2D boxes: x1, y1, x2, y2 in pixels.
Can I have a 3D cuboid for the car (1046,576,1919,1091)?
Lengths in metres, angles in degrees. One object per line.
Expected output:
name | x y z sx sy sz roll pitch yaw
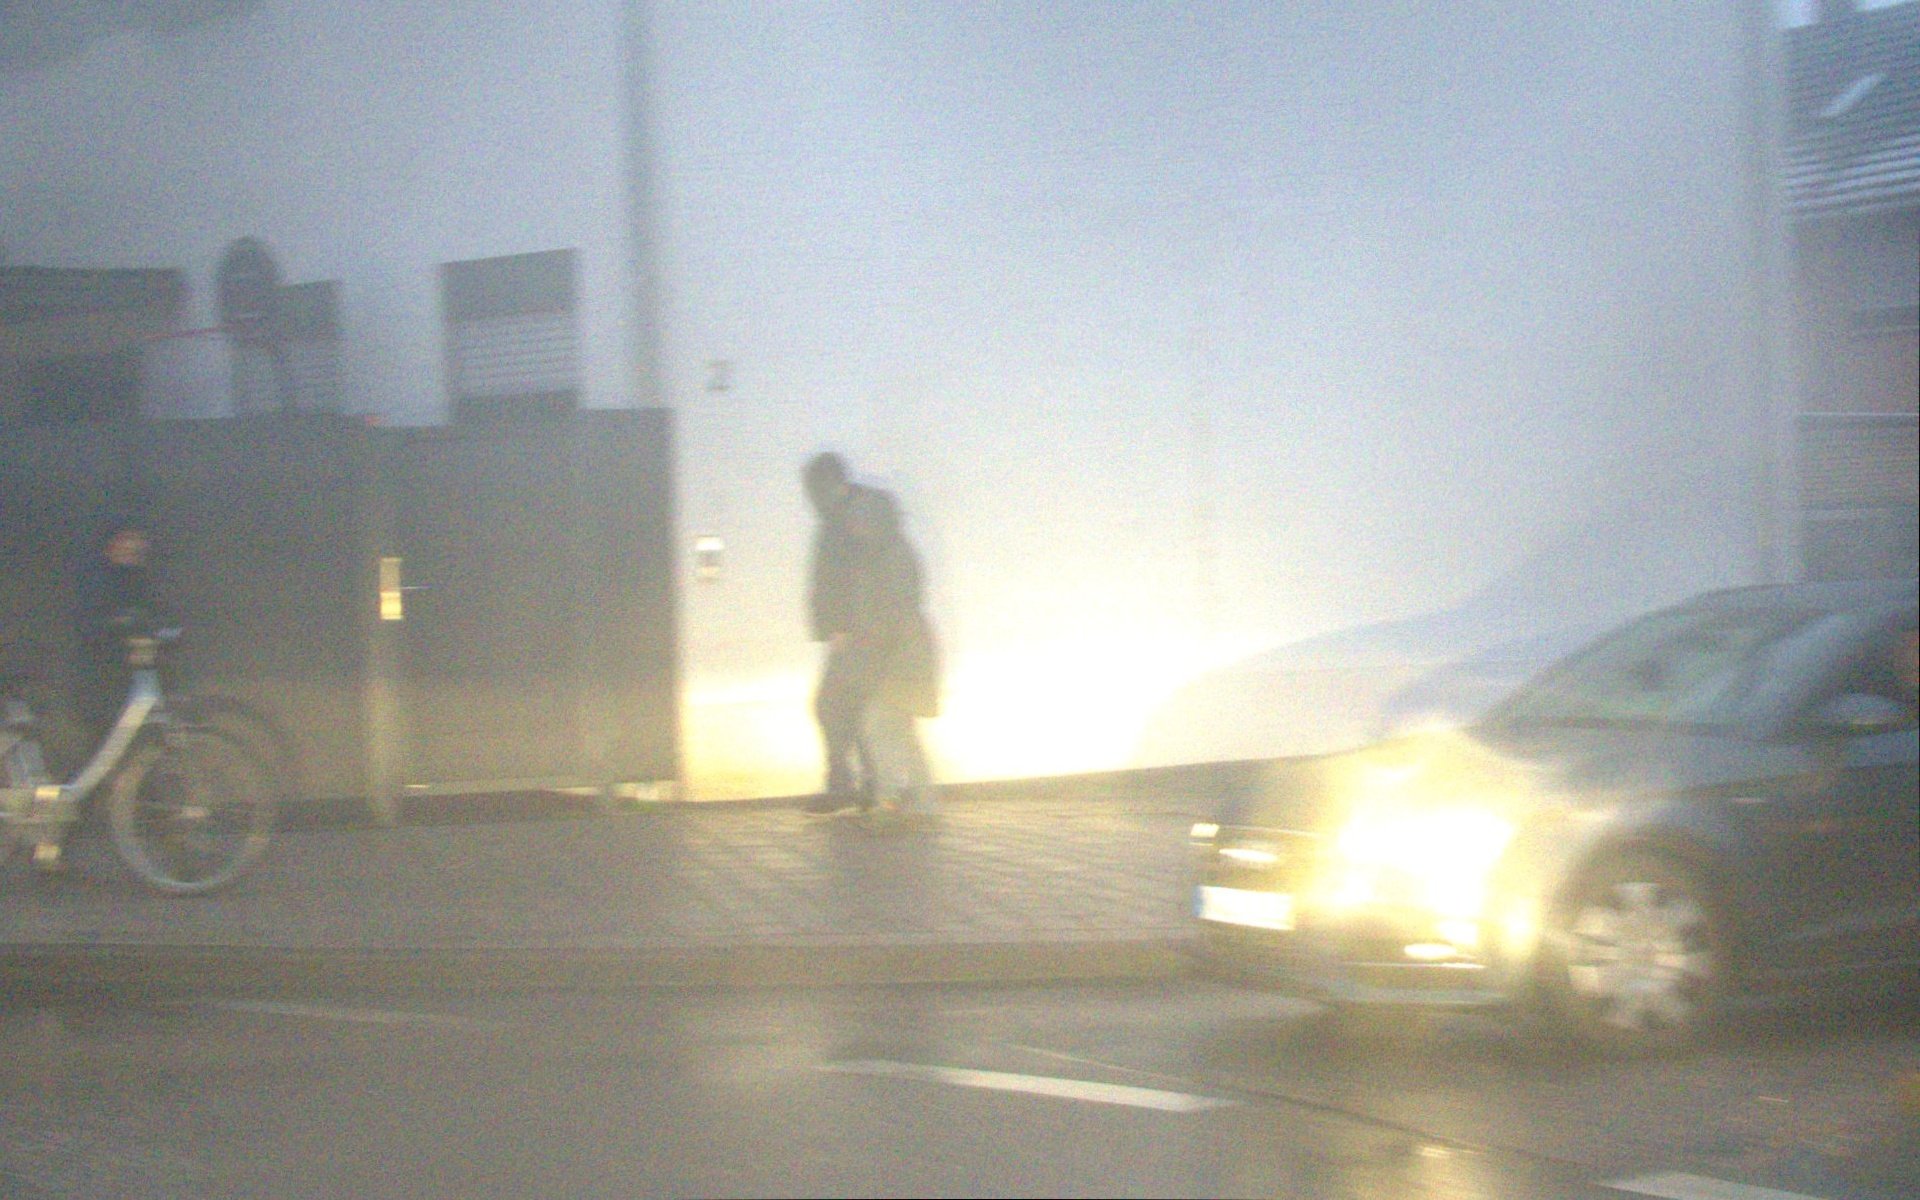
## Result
car | 2.602 0.636 11.158 4.220 1.379 1.851 -1 -1 -24

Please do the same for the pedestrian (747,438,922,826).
pedestrian | -0.611 0.135 16.612 0.715 1.825 0.638 -1 3 -15

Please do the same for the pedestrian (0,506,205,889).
pedestrian | -3.604 0.395 14.389 0.689 1.559 0.610 0 3 4

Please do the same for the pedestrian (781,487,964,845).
pedestrian | -0.408 0.288 15.908 0.715 1.615 0.582 -1 2 -15

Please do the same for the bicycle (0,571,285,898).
bicycle | -3.831 0.546 14.209 1.936 1.291 0.551 0 3 5
